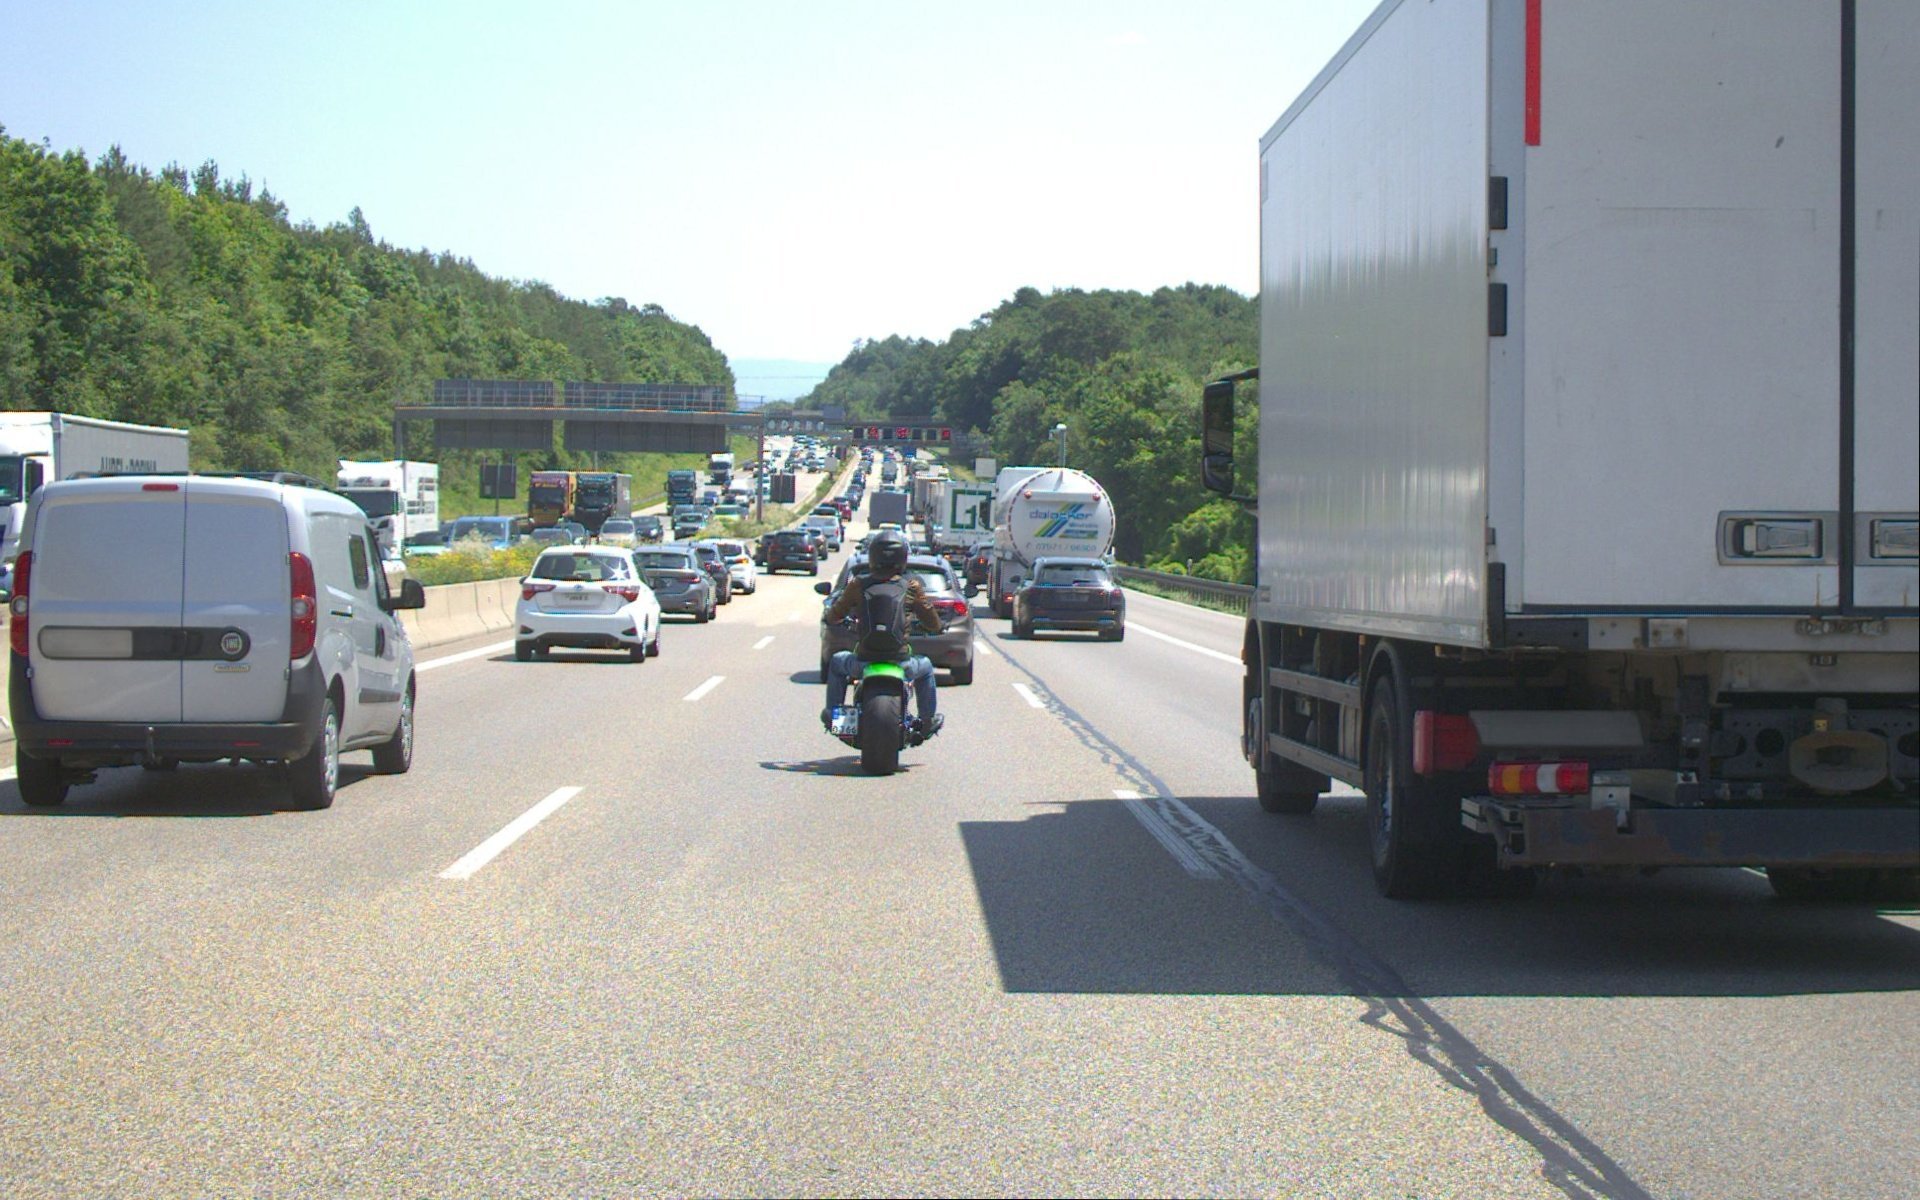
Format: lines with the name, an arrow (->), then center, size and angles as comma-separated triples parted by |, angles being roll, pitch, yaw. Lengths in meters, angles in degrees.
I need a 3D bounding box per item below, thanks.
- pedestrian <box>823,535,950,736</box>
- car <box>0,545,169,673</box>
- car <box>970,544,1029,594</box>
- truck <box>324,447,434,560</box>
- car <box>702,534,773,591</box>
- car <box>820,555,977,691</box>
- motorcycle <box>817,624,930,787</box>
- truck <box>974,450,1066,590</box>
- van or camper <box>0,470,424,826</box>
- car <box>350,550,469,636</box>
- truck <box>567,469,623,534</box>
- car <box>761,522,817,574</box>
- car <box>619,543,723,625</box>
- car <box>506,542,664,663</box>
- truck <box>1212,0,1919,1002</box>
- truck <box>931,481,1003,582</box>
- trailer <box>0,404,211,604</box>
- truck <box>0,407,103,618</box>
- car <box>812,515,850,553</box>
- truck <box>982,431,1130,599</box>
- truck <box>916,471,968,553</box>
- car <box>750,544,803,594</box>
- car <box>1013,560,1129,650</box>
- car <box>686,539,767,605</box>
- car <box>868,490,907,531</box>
pedestrian -> -0.503, 0.234, 23.864 | 0.849, 1.357, 0.961 | -1, 1, 0
car -> -12.731, 0.089, 49.519 | 1.772, 1.766, 4.184 | 0, 1, -1
car -> 1.296, -1.048, 114.135 | 1.787, 1.550, 3.804 | 1, 1, -1
truck -> -22.109, -3.625, 131.160 | 2.803, 4.151, 7.599 | 0, 0, 1
car -> -6.054, -1.044, 93.886 | 1.699, 1.473, 4.000 | 1, 1, -1
car -> -0.679, 0.229, 40.565 | 1.533, 1.504, 4.000 | 0, 1, 3
motorcycle -> -0.585, 0.707, 23.856 | 0.691, 1.012, 2.121 | 2, 1, 0
truck -> 1.522, -2.034, 89.058 | 1.993, 3.510, 4.752 | -1, 0, -3
van or camper -> -4.440, 0.249, 20.803 | 1.796, 1.886, 4.160 | 2, 0, -2
car -> -11.889, -0.164, 74.473 | 1.993, 1.788, 4.000 | -1, 0, -1
truck -> -23.442, -6.276, 221.067 | 2.906, 3.960, 7.769 | -1, 0, -1
car -> -6.292, -1.931, 126.771 | 1.880, 1.853, 4.000 | 2, 1, -1
car -> -5.521, -0.332, 66.030 | 1.699, 1.473, 4.000 | 1, 1, -1
car -> -4.922, -0.002, 45.530 | 1.699, 1.473, 4.000 | 1, 1, -1
truck -> 3.044, -0.604, 17.044 | 2.688, 3.863, 9.781 | -1, 1, -1
truck -> 0.272, -3.263, 162.839 | 3.033, 4.527, 9.983 | 2, 1, -1
trailer -> -20.102, -2.029, 78.750 | 2.835, 4.151, 14.739 | -1, 0, -1
truck -> -19.946, -1.804, 71.607 | 2.840, 4.200, 5.660 | 1, 1, -1
car -> -7.027, -3.565, 187.218 | 1.929, 2.007, 4.000 | -1, 0, 0
truck -> 2.147, -1.888, 80.096 | 2.988, 3.659, 9.288 | -1, 0, -1
truck -> -1.223, -5.698, 223.930 | 3.033, 5.122, 9.983 | 2, 1, -1
car -> -7.590, -1.266, 142.246 | 1.993, 2.007, 4.000 | -1, 0, 0
car -> 1.955, 0.067, 61.698 | 1.828, 1.465, 4.000 | 2, 1, -1
car -> -5.527, -0.688, 81.633 | 1.699, 1.473, 4.000 | 1, 1, -1
car -> -4.781, -5.876, 226.547 | 2.504, 2.578, 5.017 | 1, 1, -1
